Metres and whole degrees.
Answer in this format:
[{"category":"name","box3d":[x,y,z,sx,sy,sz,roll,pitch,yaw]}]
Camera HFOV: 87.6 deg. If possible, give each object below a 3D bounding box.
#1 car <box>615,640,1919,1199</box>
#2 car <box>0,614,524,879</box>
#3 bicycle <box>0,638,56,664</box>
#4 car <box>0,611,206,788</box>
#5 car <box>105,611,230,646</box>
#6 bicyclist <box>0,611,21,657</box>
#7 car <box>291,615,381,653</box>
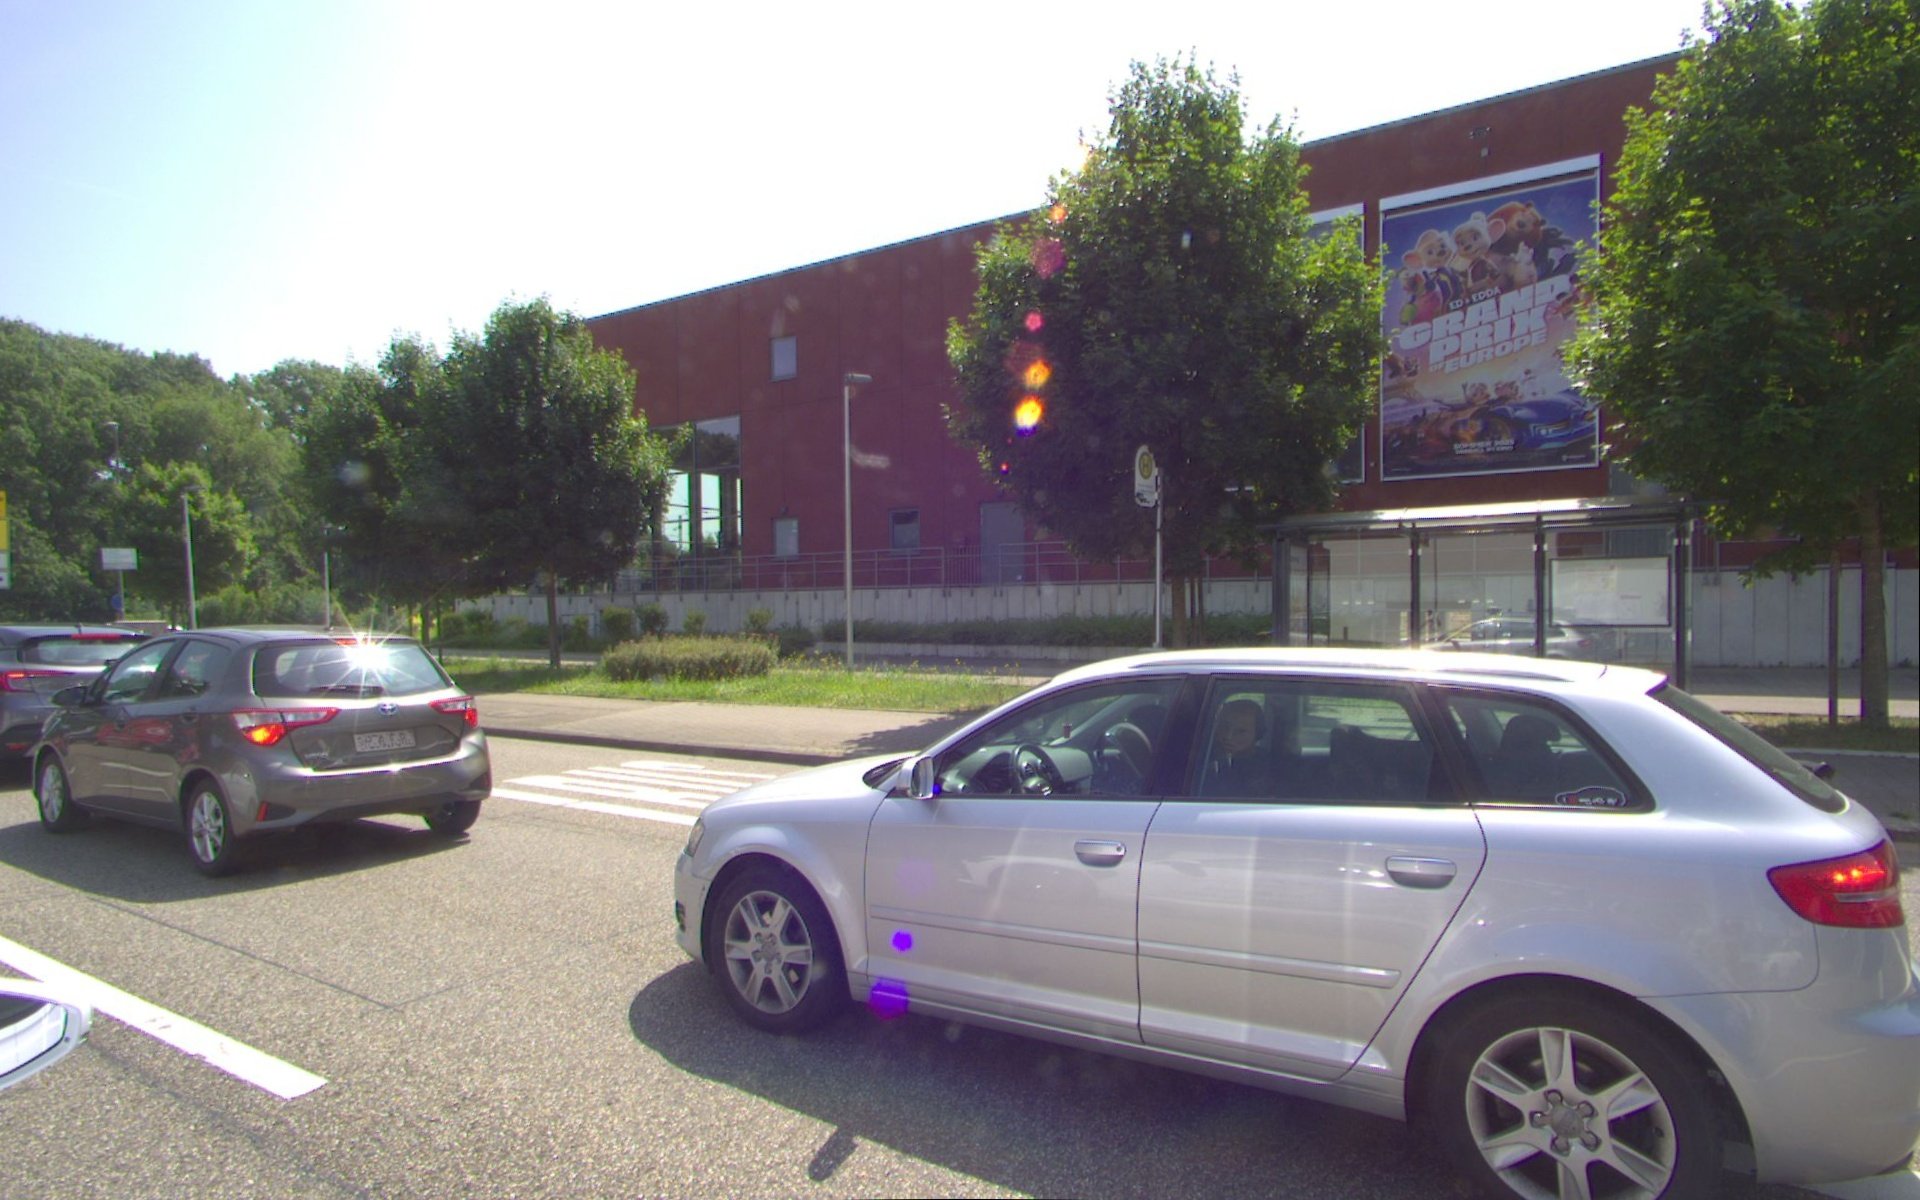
[{"category":"car","box3d":[0.779,0.858,3.729,4.031,1.379,1.710,-1,-2,31]},{"category":"car","box3d":[-5.304,0.905,7.449,4.031,1.496,1.711,-1,-4,31]},{"category":"bicycle","box3d":[-30.606,1.646,32.452,0.591,0.776,1.819,0,0,28]},{"category":"car","box3d":[-10.112,0.945,10.856,4.031,1.614,1.709,-1,-1,31]},{"category":"car","box3d":[-38.596,1.365,48.877,1.772,1.550,4.463,-1,0,31]},{"category":"bicyclist","box3d":[-30.817,1.075,32.131,0.590,1.458,0.825,0,1,28]},{"category":"car","box3d":[-36.215,1.956,58.208,1.972,2.040,3.978,0,0,32]}]
